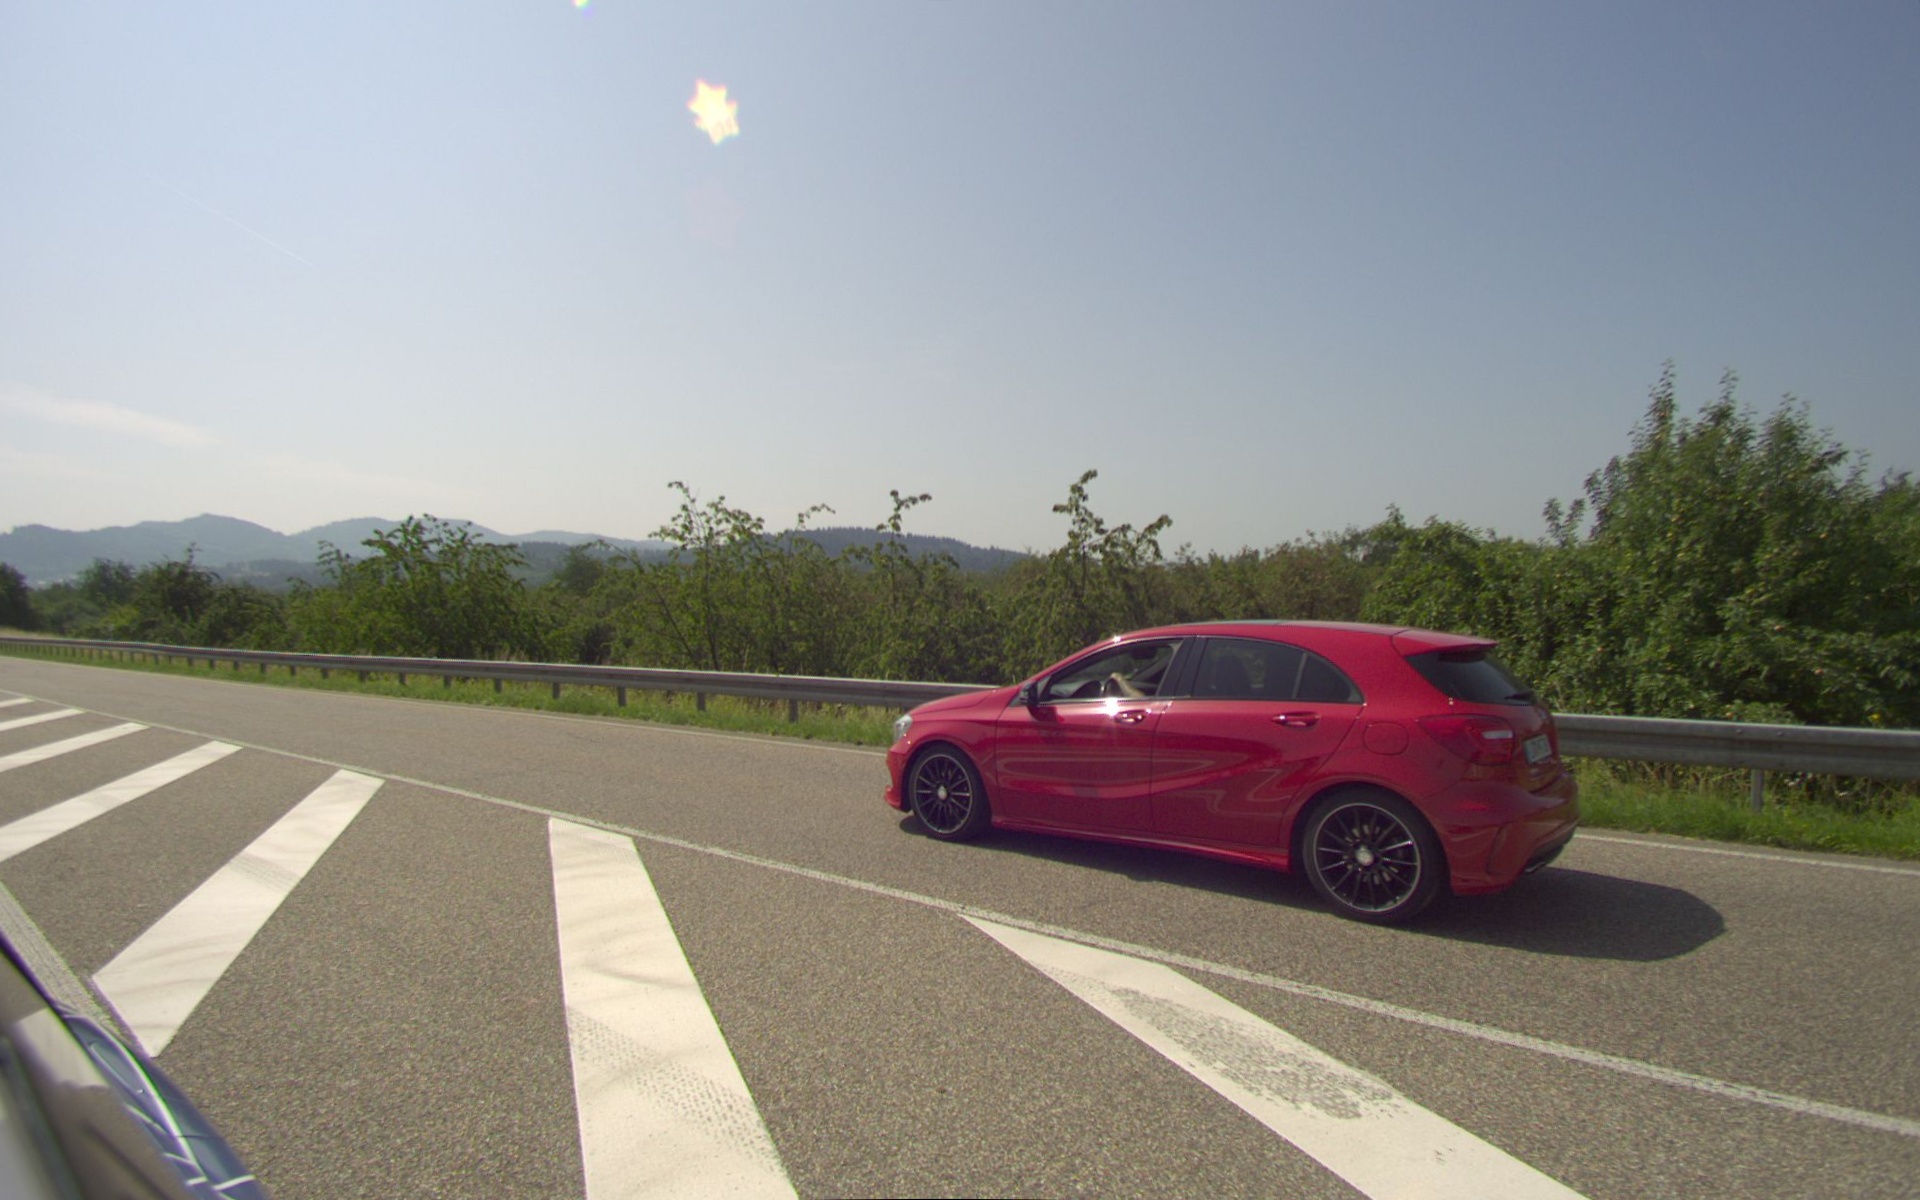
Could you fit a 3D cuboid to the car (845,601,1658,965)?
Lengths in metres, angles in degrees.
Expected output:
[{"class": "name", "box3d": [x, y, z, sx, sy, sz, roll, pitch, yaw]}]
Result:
[{"class": "car", "box3d": [1.473, 0.759, 6.245, 4.493, 1.460, 1.796, -1, -1, 41]}]
